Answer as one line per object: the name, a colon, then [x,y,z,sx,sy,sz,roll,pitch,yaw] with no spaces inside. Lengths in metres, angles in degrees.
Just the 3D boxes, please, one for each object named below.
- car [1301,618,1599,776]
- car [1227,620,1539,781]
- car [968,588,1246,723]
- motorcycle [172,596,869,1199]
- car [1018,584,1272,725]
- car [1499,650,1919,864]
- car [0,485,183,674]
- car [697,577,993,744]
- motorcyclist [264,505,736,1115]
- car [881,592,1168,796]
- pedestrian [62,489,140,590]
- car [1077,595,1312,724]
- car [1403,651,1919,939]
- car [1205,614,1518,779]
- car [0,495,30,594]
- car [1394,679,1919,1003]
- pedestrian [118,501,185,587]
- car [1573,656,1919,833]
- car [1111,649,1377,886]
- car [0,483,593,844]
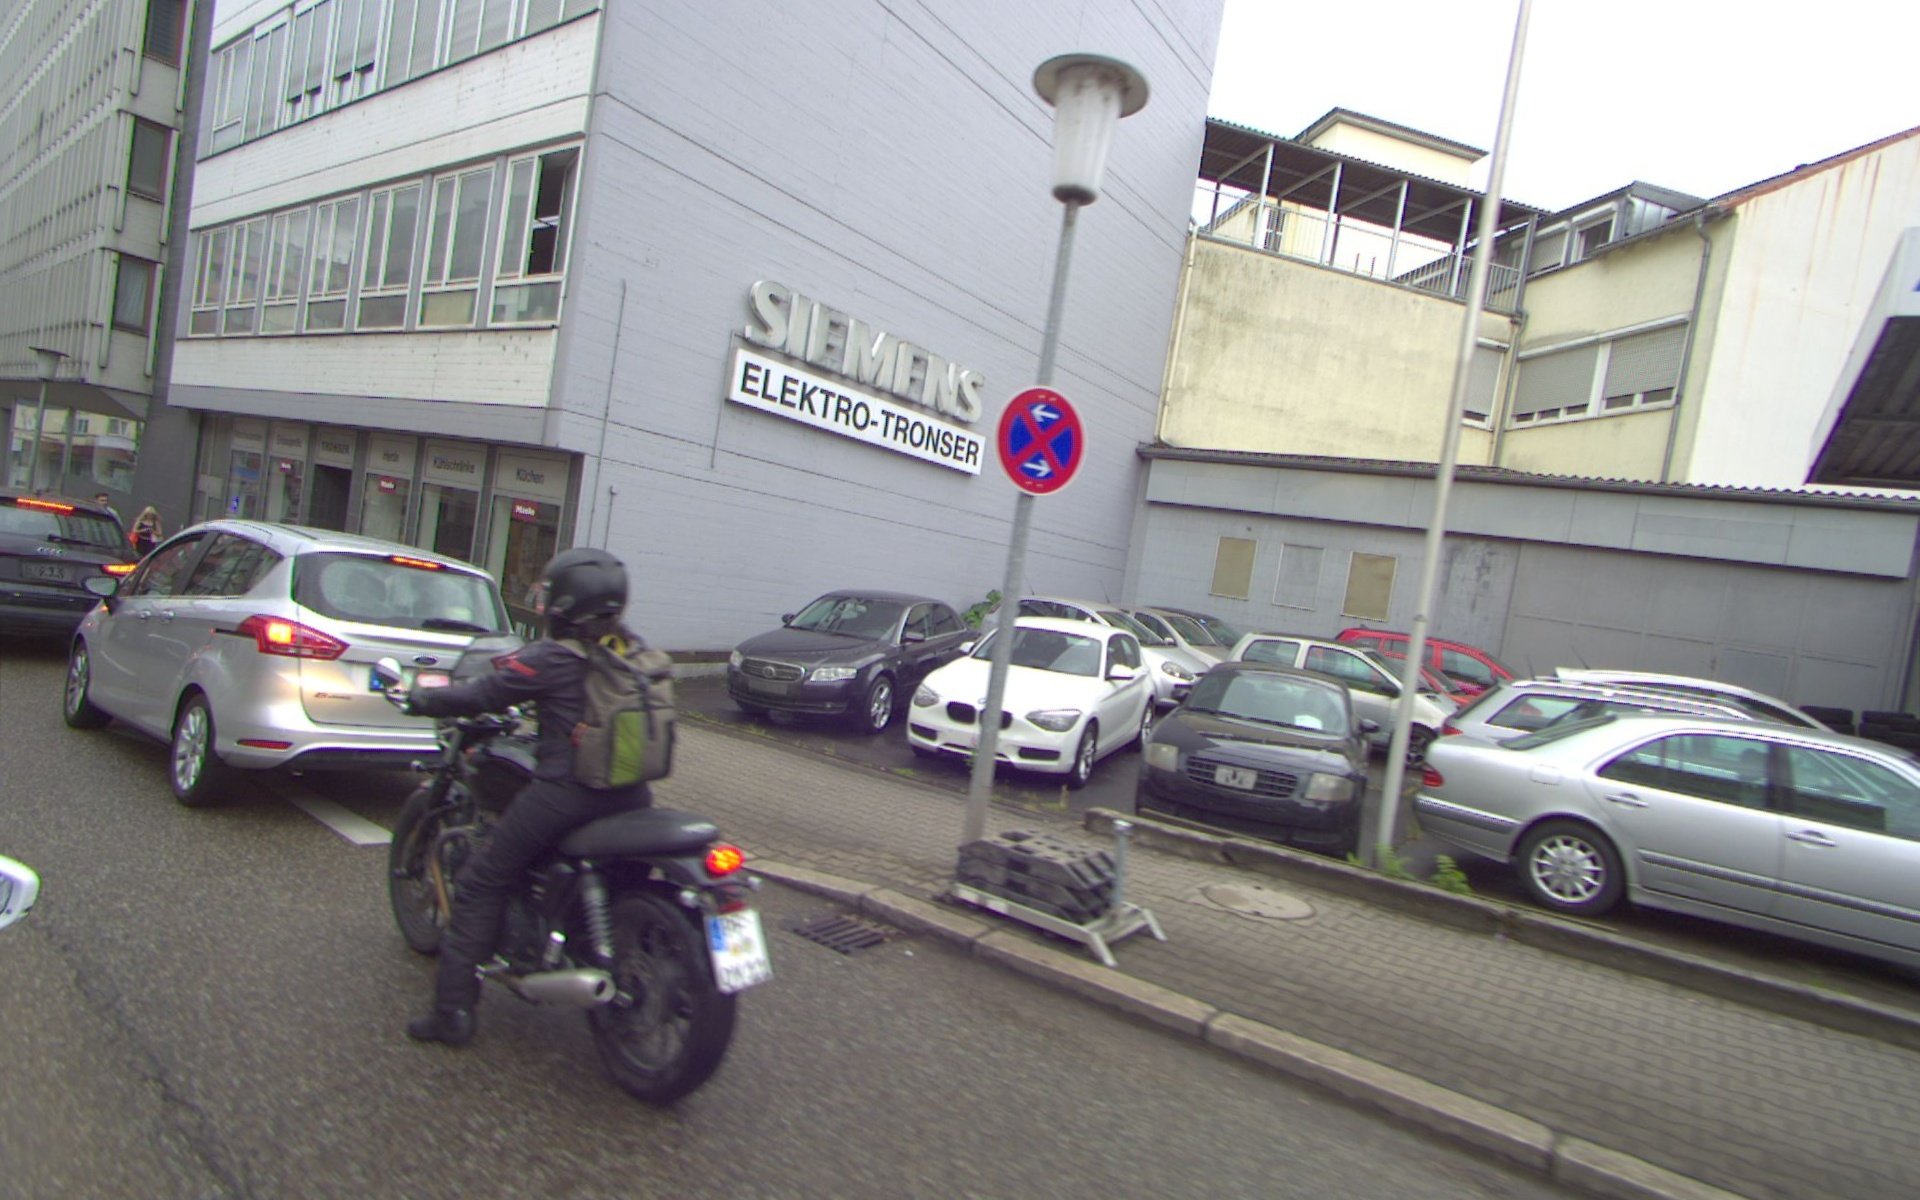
car: [8.142,1.539,16.888,4.045,1.934,1.787,7,0,39]
car: [6.358,1.439,15.326,3.891,1.752,1.787,7,0,39]
car: [2.245,0.797,15.918,3.891,1.543,1.785,7,2,39]
motorcycle: [-1.558,0.767,3.350,2.334,1.239,0.846,7,-2,33]
car: [3.220,0.920,17.852,3.891,1.922,1.787,7,0,39]
car: [8.778,1.684,11.372,4.354,1.620,1.787,7,0,39]
car: [-9.900,-0.355,10.380,4.137,1.577,1.825,6,-3,37]
car: [-1.159,0.571,12.057,1.765,1.470,3.993,7,3,21]
motorcyclist: [-1.494,0.586,3.327,0.947,1.607,0.846,7,-2,33]
car: [0.901,0.898,10.685,1.731,1.548,3.999,7,0,22]
pedestrian: [-15.594,-1.097,18.258,1.103,1.729,0.783,7,3,35]
car: [4.509,1.107,19.593,3.891,1.934,1.787,7,0,39]
car: [6.667,1.596,9.098,4.424,1.566,1.784,9,5,39]
car: [5.397,1.193,13.696,3.467,1.622,1.785,7,3,39]
car: [-16.656,-1.125,16.170,3.939,1.493,1.690,7,-3,37]
car: [5.629,1.579,6.761,4.549,1.434,1.785,7,1,41]
pedestrian: [-15.788,-1.095,19.637,0.877,1.572,0.764,7,3,35]
car: [11.318,1.959,14.497,3.891,1.752,1.787,7,0,39]
car: [2.753,1.275,9.050,1.641,1.418,3.998,7,0,24]
car: [-4.599,0.277,6.664,4.184,1.558,1.830,7,-3,35]
